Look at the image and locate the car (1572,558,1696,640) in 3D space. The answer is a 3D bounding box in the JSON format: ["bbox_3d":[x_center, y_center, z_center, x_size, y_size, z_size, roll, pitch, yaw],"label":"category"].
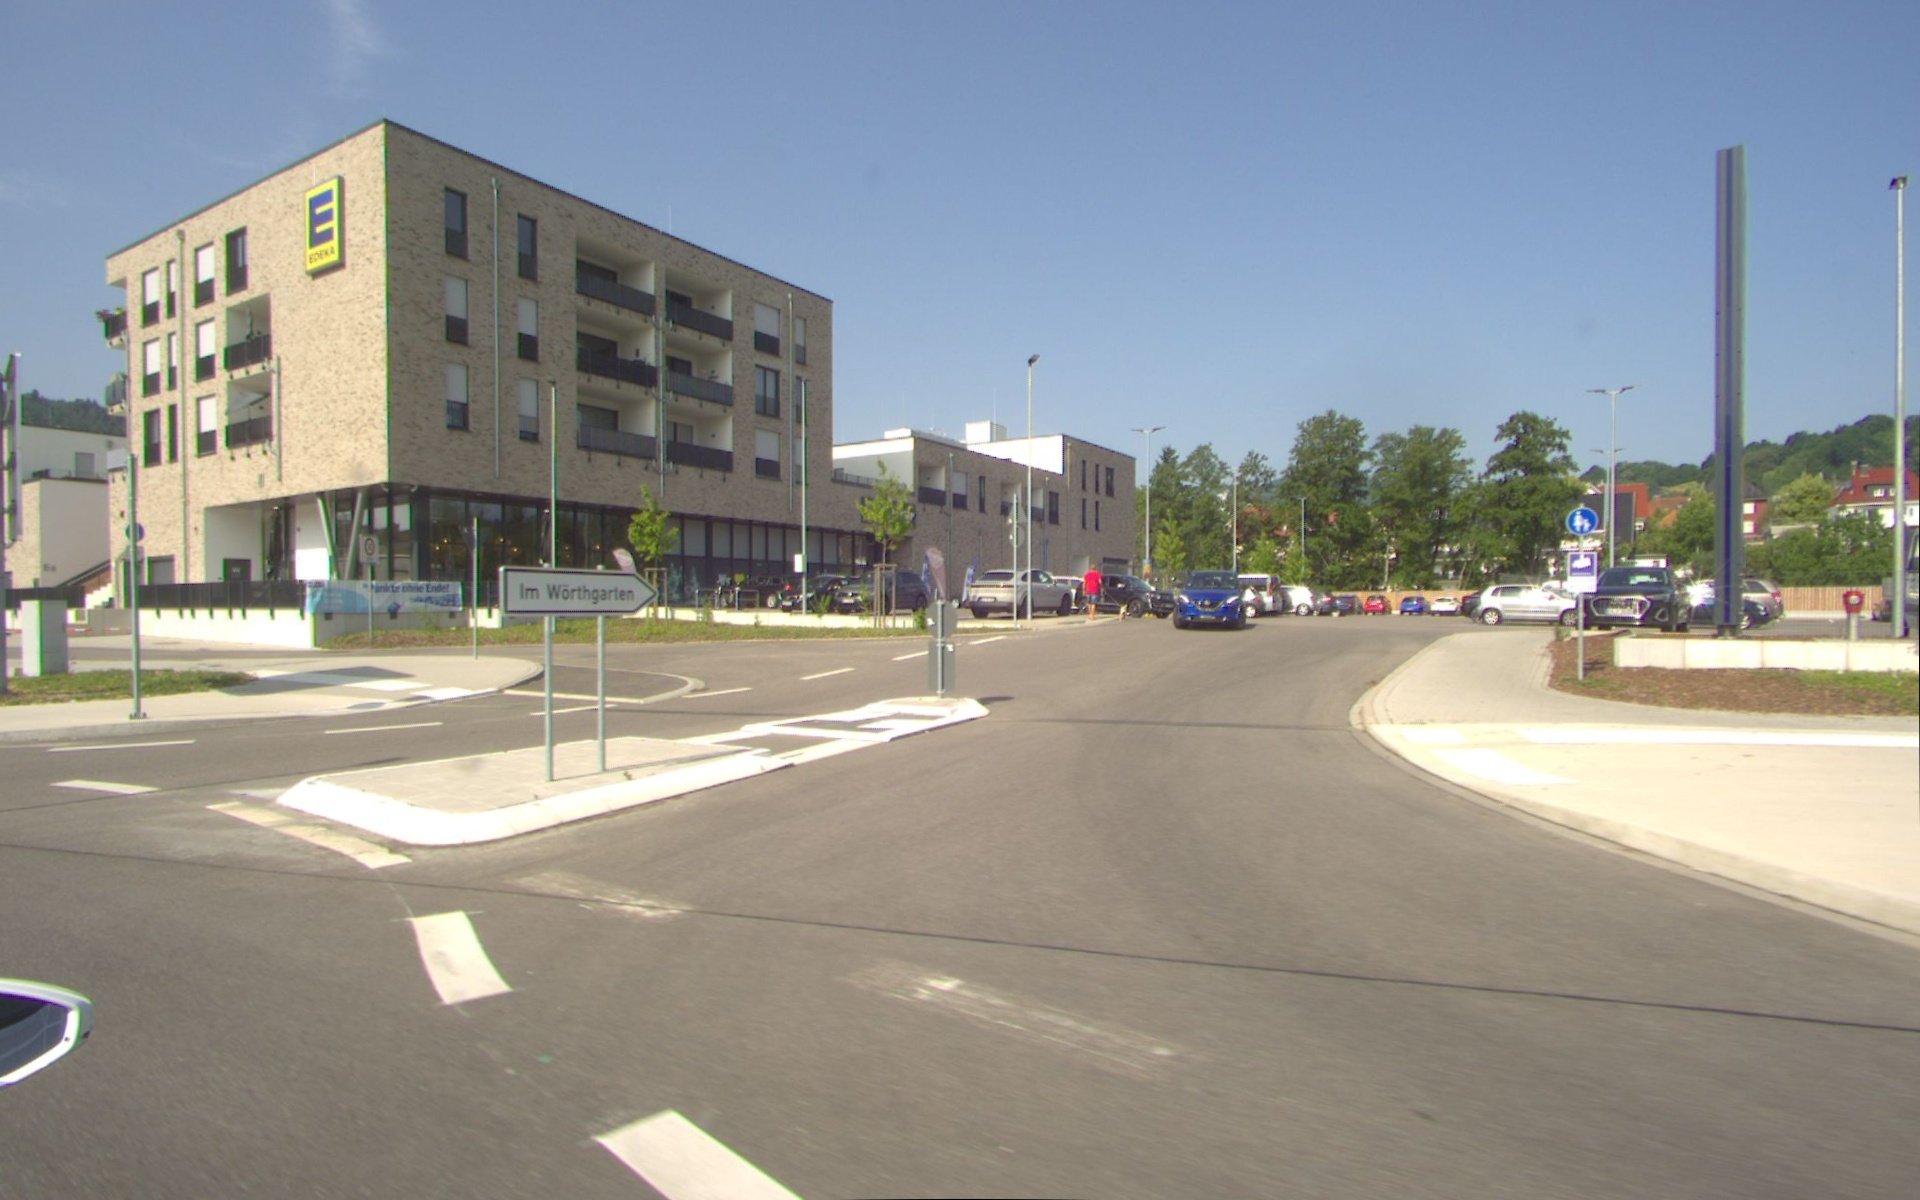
[{"bbox_3d":[15.296,0.061,22.612,1.899,1.549,4.827,0,-3,39],"label":"car"}]

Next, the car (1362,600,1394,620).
[{"bbox_3d":[34.063,0.804,81.487,1.624,1.448,3.602,0,-3,36],"label":"car"}]

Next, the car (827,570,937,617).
[{"bbox_3d":[-2.792,-0.291,37.007,1.830,1.577,4.436,3,3,31],"label":"car"}]

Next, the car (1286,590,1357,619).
[{"bbox_3d":[22.719,0.280,62.921,3.939,1.695,1.993,0,-2,30],"label":"car"}]

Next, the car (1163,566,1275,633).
[{"bbox_3d":[7.548,-0.074,28.888,1.860,1.686,4.326,0,3,33],"label":"car"}]

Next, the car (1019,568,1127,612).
[{"bbox_3d":[5.124,-0.433,45.614,4.514,1.905,1.989,0,-1,33],"label":"car"}]

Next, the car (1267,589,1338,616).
[{"bbox_3d":[19.947,0.141,58.277,3.749,1.490,1.768,1,-2,24],"label":"car"}]

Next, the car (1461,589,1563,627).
[{"bbox_3d":[21.051,0.301,38.319,3.312,1.392,1.520,1,-1,27],"label":"car"}]

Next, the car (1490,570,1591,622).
[{"bbox_3d":[31.639,-0.201,54.615,4.583,2.650,1.990,0,-2,34],"label":"car"}]

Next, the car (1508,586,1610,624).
[{"bbox_3d":[25.209,0.219,42.186,3.583,1.463,1.517,0,-3,36],"label":"car"}]

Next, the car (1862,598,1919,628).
[{"bbox_3d":[56.311,0.810,60.577,1.736,1.593,3.774,1,-3,28],"label":"car"}]

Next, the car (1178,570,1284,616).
[{"bbox_3d":[12.743,-0.321,47.078,4.570,2.039,1.995,1,-2,24],"label":"car"}]

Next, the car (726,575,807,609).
[{"bbox_3d":[-8.495,-0.337,43.968,3.279,1.368,1.486,1,-2,27],"label":"car"}]

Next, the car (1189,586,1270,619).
[{"bbox_3d":[12.032,0.129,44.664,3.279,1.368,1.623,-1,-2,26],"label":"car"}]

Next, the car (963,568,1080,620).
[{"bbox_3d":[2.176,-0.274,34.010,1.831,1.577,4.792,3,3,33],"label":"car"}]

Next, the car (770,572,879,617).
[{"bbox_3d":[-5.198,-0.284,38.836,1.830,1.577,4.436,3,3,31],"label":"car"}]

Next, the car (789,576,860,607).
[{"bbox_3d":[-6.594,-0.393,48.613,3.287,1.368,1.483,0,-2,35],"label":"car"}]

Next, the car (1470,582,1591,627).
[{"bbox_3d":[20.124,0.157,35.362,3.583,1.463,1.517,0,-3,36],"label":"car"}]

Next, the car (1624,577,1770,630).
[{"bbox_3d":[23.904,0.137,32.645,3.735,1.594,1.754,0,-2,35],"label":"car"}]

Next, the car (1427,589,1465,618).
[{"bbox_3d":[37.456,0.273,77.194,1.974,2.039,3.977,0,-3,36],"label":"car"}]

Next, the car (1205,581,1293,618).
[{"bbox_3d":[14.190,-0.020,49.165,3.933,1.660,1.869,1,-2,24],"label":"car"}]

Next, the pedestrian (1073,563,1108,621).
[{"bbox_3d":[4.123,-0.232,31.766,0.864,1.763,0.757,2,-2,-11],"label":"pedestrian"}]

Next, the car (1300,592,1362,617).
[{"bbox_3d":[26.374,0.333,71.142,3.937,1.695,1.783,1,-2,27],"label":"car"}]

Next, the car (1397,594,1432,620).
[{"bbox_3d":[35.900,0.547,79.105,1.744,1.838,3.977,0,-3,36],"label":"car"}]

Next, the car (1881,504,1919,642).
[{"bbox_3d":[19.629,-0.433,19.398,2.034,2.413,6.054,0,-3,37],"label":"car"}]

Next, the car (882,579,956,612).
[{"bbox_3d":[-2.157,-0.291,53.864,1.830,1.577,4.436,3,3,31],"label":"car"}]

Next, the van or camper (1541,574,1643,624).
[{"bbox_3d":[39.023,-0.060,61.872,5.213,2.883,2.283,0,-2,34],"label":"van or camper"}]

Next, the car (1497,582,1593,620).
[{"bbox_3d":[33.194,0.051,56.836,4.583,2.001,1.990,0,-2,34],"label":"car"}]

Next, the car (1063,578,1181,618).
[{"bbox_3d":[6.079,-0.104,37.761,4.182,1.412,1.629,0,2,42],"label":"car"}]

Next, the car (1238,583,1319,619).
[{"bbox_3d":[17.202,0.051,54.064,3.933,1.763,1.930,1,-2,24],"label":"car"}]
